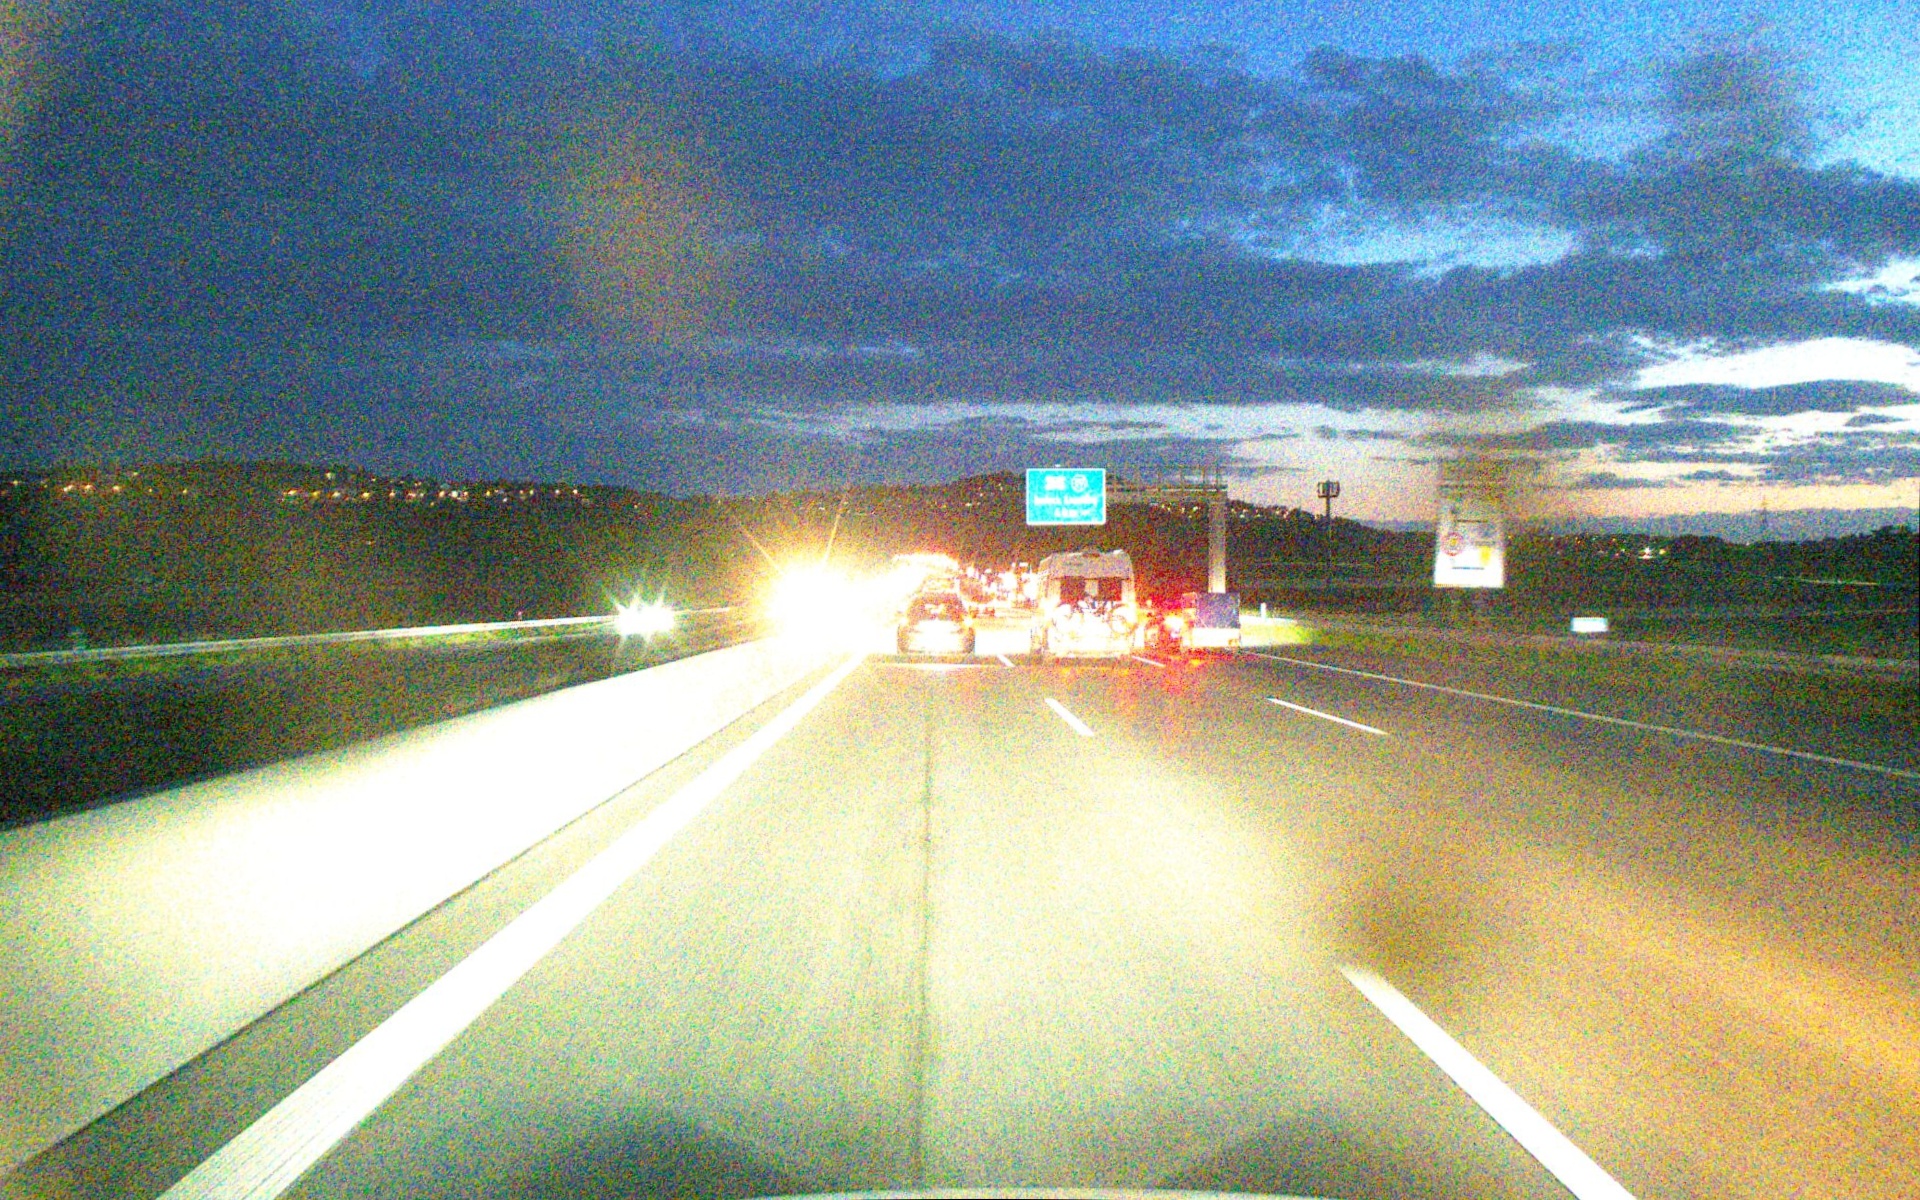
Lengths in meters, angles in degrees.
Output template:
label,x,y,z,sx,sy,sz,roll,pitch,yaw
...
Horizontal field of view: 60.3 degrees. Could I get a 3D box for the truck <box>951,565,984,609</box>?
label,x,y,z,sx,sy,sz,roll,pitch,yaw
truck,0.685,-1.217,156.487,2.725,4.024,7.989,-1,0,-2

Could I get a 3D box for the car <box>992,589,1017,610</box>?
label,x,y,z,sx,sy,sz,roll,pitch,yaw
car,4.456,-0.058,166.956,2.303,2.112,4.722,-1,1,-1

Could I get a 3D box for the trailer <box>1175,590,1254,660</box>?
label,x,y,z,sx,sy,sz,roll,pitch,yaw
trailer,6.407,0.605,41.908,1.534,1.723,2.820,0,0,-1

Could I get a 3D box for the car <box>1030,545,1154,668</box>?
label,x,y,z,sx,sy,sz,roll,pitch,yaw
car,2.926,0.105,37.967,2.303,2.579,5.700,-1,1,-1

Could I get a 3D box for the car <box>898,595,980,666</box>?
label,x,y,z,sx,sy,sz,roll,pitch,yaw
car,-0.475,0.654,37.743,1.757,1.494,3.772,0,1,-1

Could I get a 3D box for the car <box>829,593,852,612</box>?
label,x,y,z,sx,sy,sz,roll,pitch,yaw
car,-10.873,0.235,150.451,1.775,1.671,4.157,-1,0,-1

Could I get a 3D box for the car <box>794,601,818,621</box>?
label,x,y,z,sx,sy,sz,roll,pitch,yaw
car,-13.652,0.947,147.112,1.775,1.671,4.157,-1,0,-1

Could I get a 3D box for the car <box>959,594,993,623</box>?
label,x,y,z,sx,sy,sz,roll,pitch,yaw
car,1.091,0.585,116.601,2.303,1.947,4.722,-1,0,-1

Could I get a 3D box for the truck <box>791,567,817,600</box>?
label,x,y,z,sx,sy,sz,roll,pitch,yaw
truck,-19.517,-1.993,207.342,2.725,4.024,7.989,-1,0,-2

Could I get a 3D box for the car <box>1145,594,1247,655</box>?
label,x,y,z,sx,sy,sz,roll,pitch,yaw
car,6.421,0.624,45.538,2.119,1.591,4.722,0,0,-1

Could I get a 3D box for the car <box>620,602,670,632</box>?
label,x,y,z,sx,sy,sz,roll,pitch,yaw
car,-17.771,0.934,93.513,1.953,1.504,5.043,-3,0,-2

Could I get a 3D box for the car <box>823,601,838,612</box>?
label,x,y,z,sx,sy,sz,roll,pitch,yaw
car,-19.119,0.948,244.279,1.953,1.660,3.999,1,0,-1
